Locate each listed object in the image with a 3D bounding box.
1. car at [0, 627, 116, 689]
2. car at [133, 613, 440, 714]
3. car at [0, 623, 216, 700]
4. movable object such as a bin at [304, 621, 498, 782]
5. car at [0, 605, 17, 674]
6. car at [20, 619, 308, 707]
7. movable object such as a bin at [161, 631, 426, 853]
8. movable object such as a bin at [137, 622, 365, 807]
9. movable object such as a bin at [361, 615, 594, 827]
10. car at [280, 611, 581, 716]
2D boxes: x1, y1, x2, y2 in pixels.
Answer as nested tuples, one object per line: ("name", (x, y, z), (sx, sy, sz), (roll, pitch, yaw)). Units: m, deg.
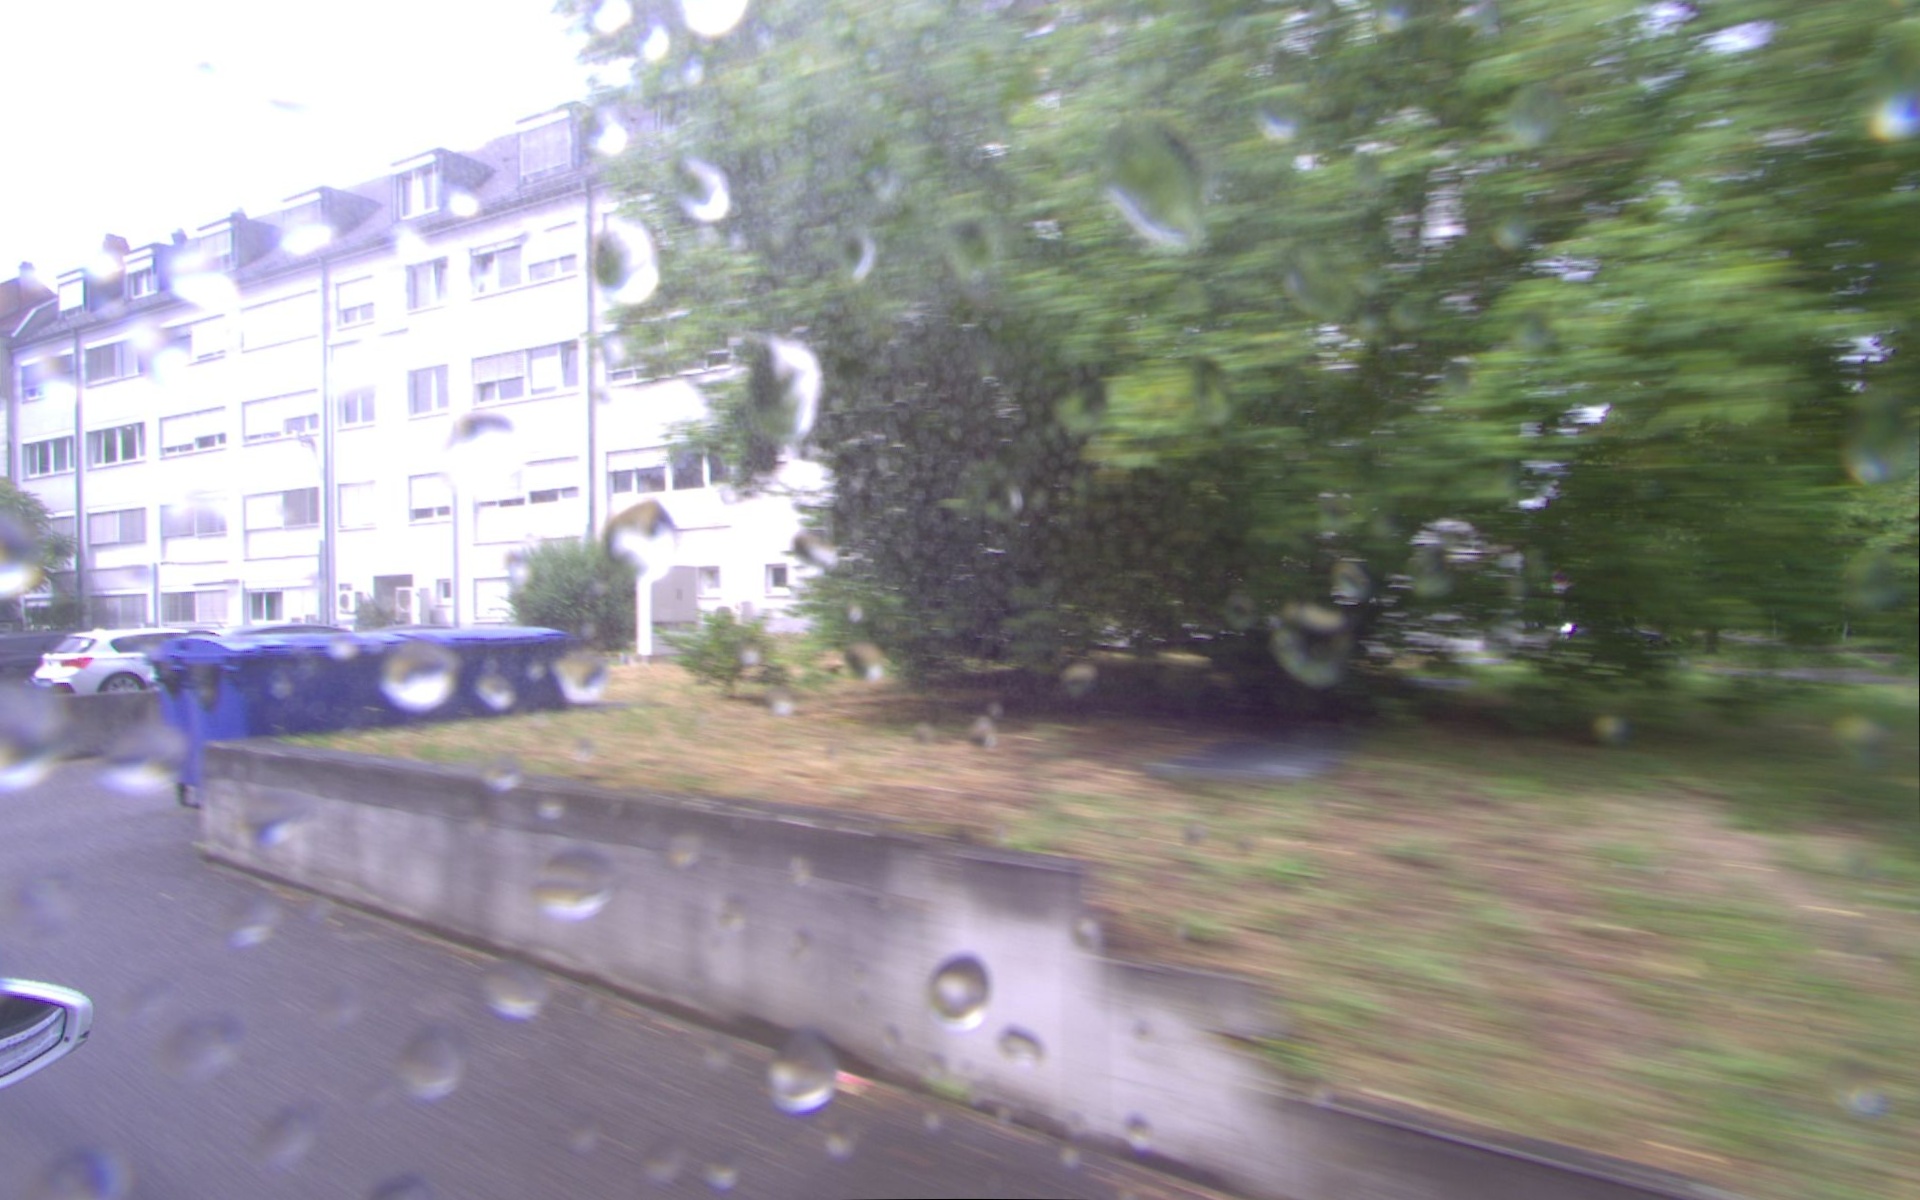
("car", (-22.844, 1.360, 23.460), (1.830, 1.366, 4.352), (0, 0, 26))
("car", (-11.369, 1.005, 17.218), (1.643, 1.477, 4.075), (-2, -1, 29))
("car", (-18.750, 1.248, 21.380), (1.908, 1.419, 4.169), (-1, 0, 26))
("movable object such as a bin", (-5.152, 0.877, 9.279), (1.040, 1.335, 1.227), (1, 1, 32))
("car", (-28.015, 1.103, 26.005), (2.077, 1.857, 4.707), (-1, 0, 26))
("car", (-15.612, 1.157, 19.893), (1.805, 1.474, 4.093), (-1, 0, 28))
("movable object such as a bin", (-4.548, 0.895, 6.882), (1.040, 1.334, 1.172), (1, -1, 32))
("movable object such as a bin", (-5.773, 0.860, 8.194), (1.040, 1.335, 1.227), (1, 1, 32))
("movable object such as a bin", (-3.826, 0.895, 8.000), (1.086, 1.502, 1.273), (1, -1, 32))
("car", (-8.449, 0.933, 16.329), (1.765, 1.372, 3.978), (-1, 1, 32))
